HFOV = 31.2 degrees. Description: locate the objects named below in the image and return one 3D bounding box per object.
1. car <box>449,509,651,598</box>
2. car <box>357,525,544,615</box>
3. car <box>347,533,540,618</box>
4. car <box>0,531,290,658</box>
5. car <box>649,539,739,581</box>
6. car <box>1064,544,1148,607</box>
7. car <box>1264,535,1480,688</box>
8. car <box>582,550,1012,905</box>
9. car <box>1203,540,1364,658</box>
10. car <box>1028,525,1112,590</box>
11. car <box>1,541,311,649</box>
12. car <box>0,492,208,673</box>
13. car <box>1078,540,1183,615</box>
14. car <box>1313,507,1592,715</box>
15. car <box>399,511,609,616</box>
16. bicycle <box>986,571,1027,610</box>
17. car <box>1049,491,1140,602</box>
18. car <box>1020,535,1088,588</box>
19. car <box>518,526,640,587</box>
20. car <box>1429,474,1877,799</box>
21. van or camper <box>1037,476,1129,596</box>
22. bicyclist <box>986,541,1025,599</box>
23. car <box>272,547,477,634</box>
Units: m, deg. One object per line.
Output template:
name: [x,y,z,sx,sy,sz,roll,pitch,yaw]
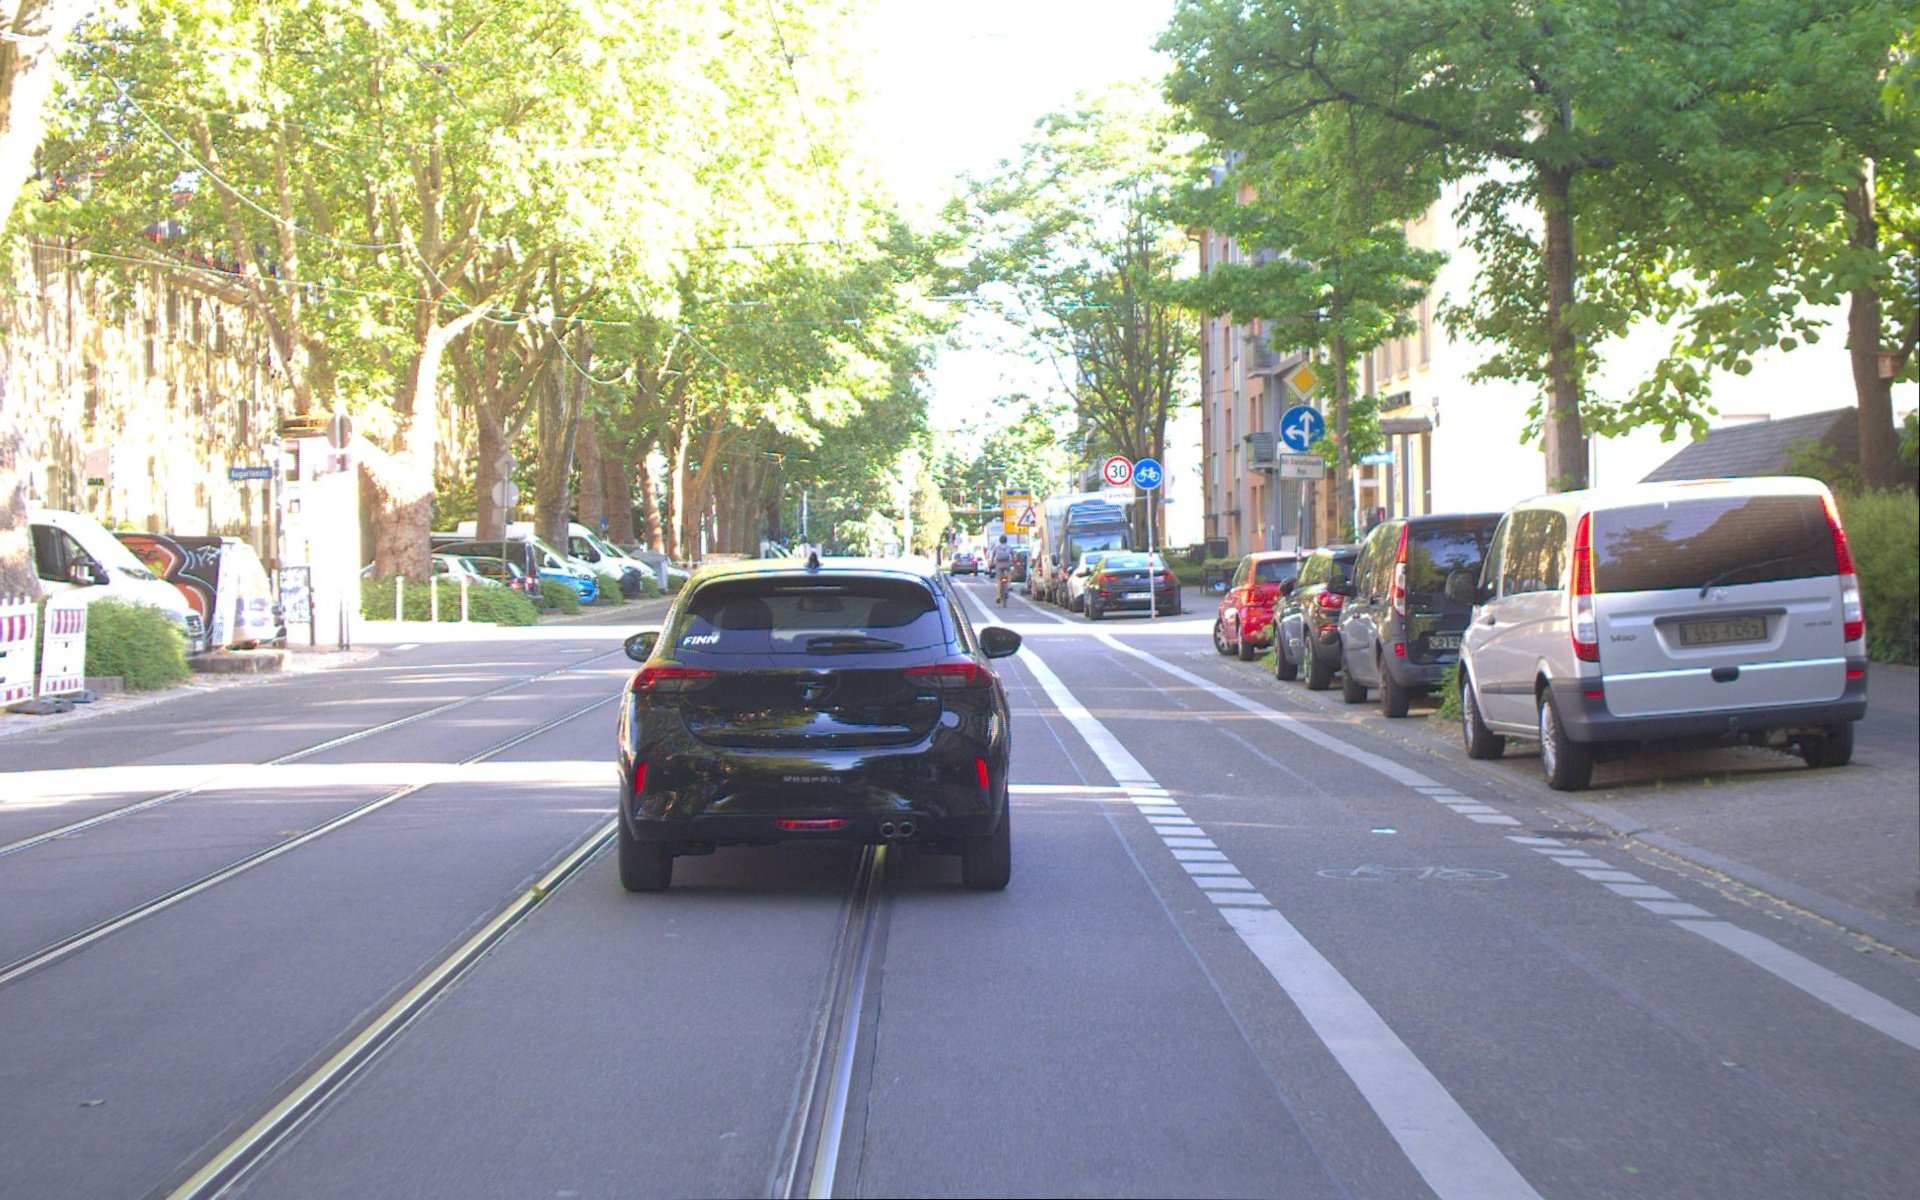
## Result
car: [-12.166,-1.385,102.259,5.639,2.584,2.196,0,1,4]
car: [-12.259,-0.727,82.854,4.299,1.834,1.783,-4,1,-7]
car: [-12.075,-0.583,80.526,4.299,1.669,1.783,-4,1,-7]
car: [-11.984,-0.095,49.629,4.299,1.795,1.926,0,1,-3]
car: [-12.754,-1.908,165.054,3.988,2.007,2.000,0,1,6]
car: [3.499,-0.572,82.913,1.803,1.429,4.000,-2,0,0]
car: [4.469,0.094,37.821,1.712,1.509,4.037,-3,1,-1]
car: [-0.675,0.496,16.088,1.763,1.455,3.950,0,1,0]
car: [4.344,-0.040,46.649,1.702,1.418,3.978,-4,1,0]
car: [3.294,-1.283,103.876,2.254,1.834,5.531,-2,1,0]
car: [-12.173,-0.093,52.264,4.299,1.601,1.926,0,1,-3]
car: [-12.264,-0.237,43.674,5.032,2.251,2.086,0,1,-3]
car: [3.577,-0.500,72.738,1.884,1.429,4.530,-3,1,0]
car: [4.517,0.062,32.189,1.885,1.760,4.678,-1,1,0]
car: [-11.850,-0.957,89.547,5.036,2.366,2.081,-4,1,0]
bicycle: [1.202,-0.248,90.063,0.968,0.995,2.583,0,1,-2]
car: [3.495,-1.420,90.108,2.085,2.762,4.698,-2,1,0]
car: [3.398,-1.418,125.298,2.254,1.834,5.531,-2,1,0]
car: [-12.826,-1.463,115.558,3.986,2.007,2.001,0,1,-9]
car: [4.495,0.183,23.090,1.884,1.845,4.967,-3,1,0]
van or camper: [3.426,-1.791,96.669,2.254,3.205,5.531,-2,1,0]
bicyclist: [1.191,-0.788,90.033,0.958,1.494,1.094,0,1,-2]
car: [-12.872,-0.208,75.775,4.299,1.588,1.783,-4,1,-7]
